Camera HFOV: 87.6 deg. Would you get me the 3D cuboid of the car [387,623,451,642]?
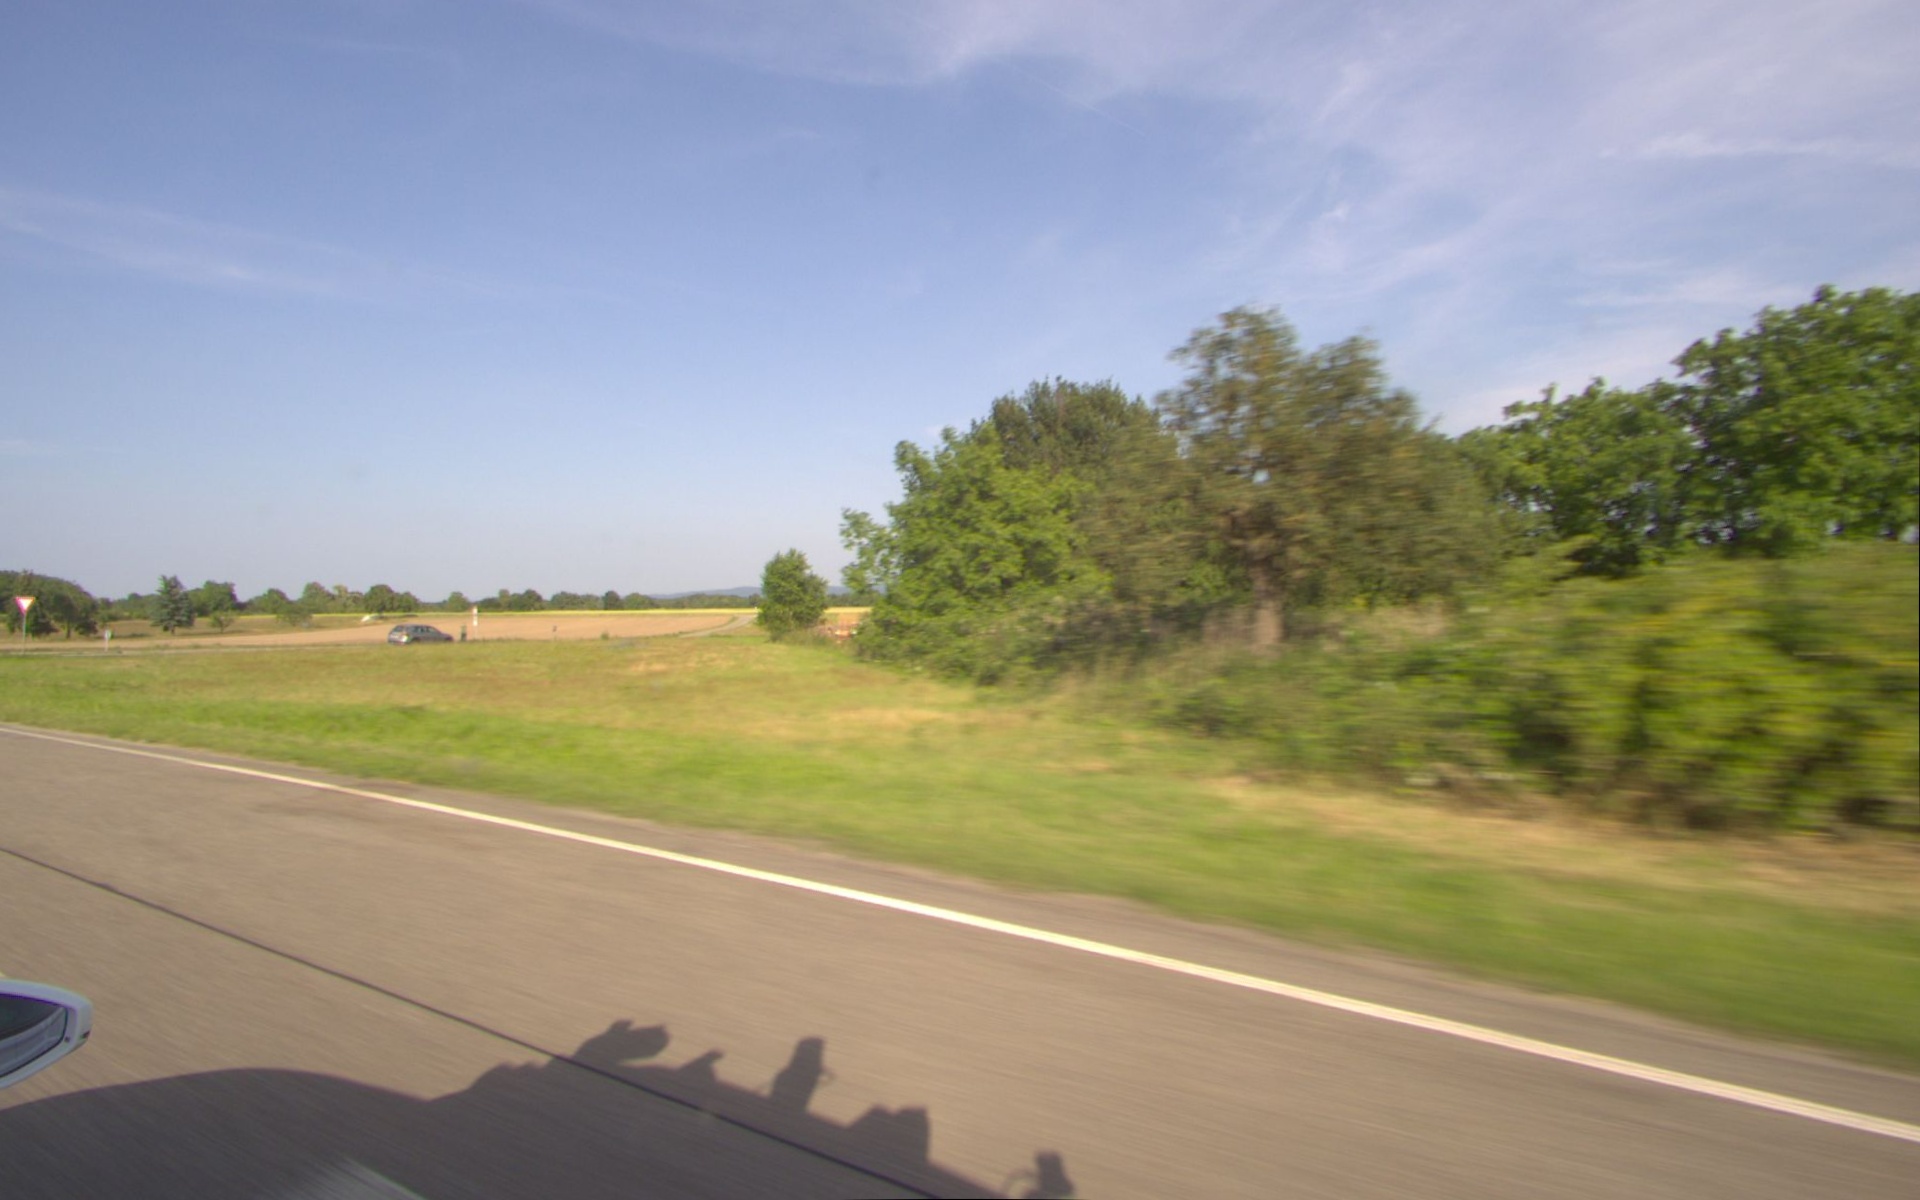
[{"bbox_3d":[-36.509,2.163,67.650,1.537,1.235,3.630,0,-1,23],"label":"car"}]
